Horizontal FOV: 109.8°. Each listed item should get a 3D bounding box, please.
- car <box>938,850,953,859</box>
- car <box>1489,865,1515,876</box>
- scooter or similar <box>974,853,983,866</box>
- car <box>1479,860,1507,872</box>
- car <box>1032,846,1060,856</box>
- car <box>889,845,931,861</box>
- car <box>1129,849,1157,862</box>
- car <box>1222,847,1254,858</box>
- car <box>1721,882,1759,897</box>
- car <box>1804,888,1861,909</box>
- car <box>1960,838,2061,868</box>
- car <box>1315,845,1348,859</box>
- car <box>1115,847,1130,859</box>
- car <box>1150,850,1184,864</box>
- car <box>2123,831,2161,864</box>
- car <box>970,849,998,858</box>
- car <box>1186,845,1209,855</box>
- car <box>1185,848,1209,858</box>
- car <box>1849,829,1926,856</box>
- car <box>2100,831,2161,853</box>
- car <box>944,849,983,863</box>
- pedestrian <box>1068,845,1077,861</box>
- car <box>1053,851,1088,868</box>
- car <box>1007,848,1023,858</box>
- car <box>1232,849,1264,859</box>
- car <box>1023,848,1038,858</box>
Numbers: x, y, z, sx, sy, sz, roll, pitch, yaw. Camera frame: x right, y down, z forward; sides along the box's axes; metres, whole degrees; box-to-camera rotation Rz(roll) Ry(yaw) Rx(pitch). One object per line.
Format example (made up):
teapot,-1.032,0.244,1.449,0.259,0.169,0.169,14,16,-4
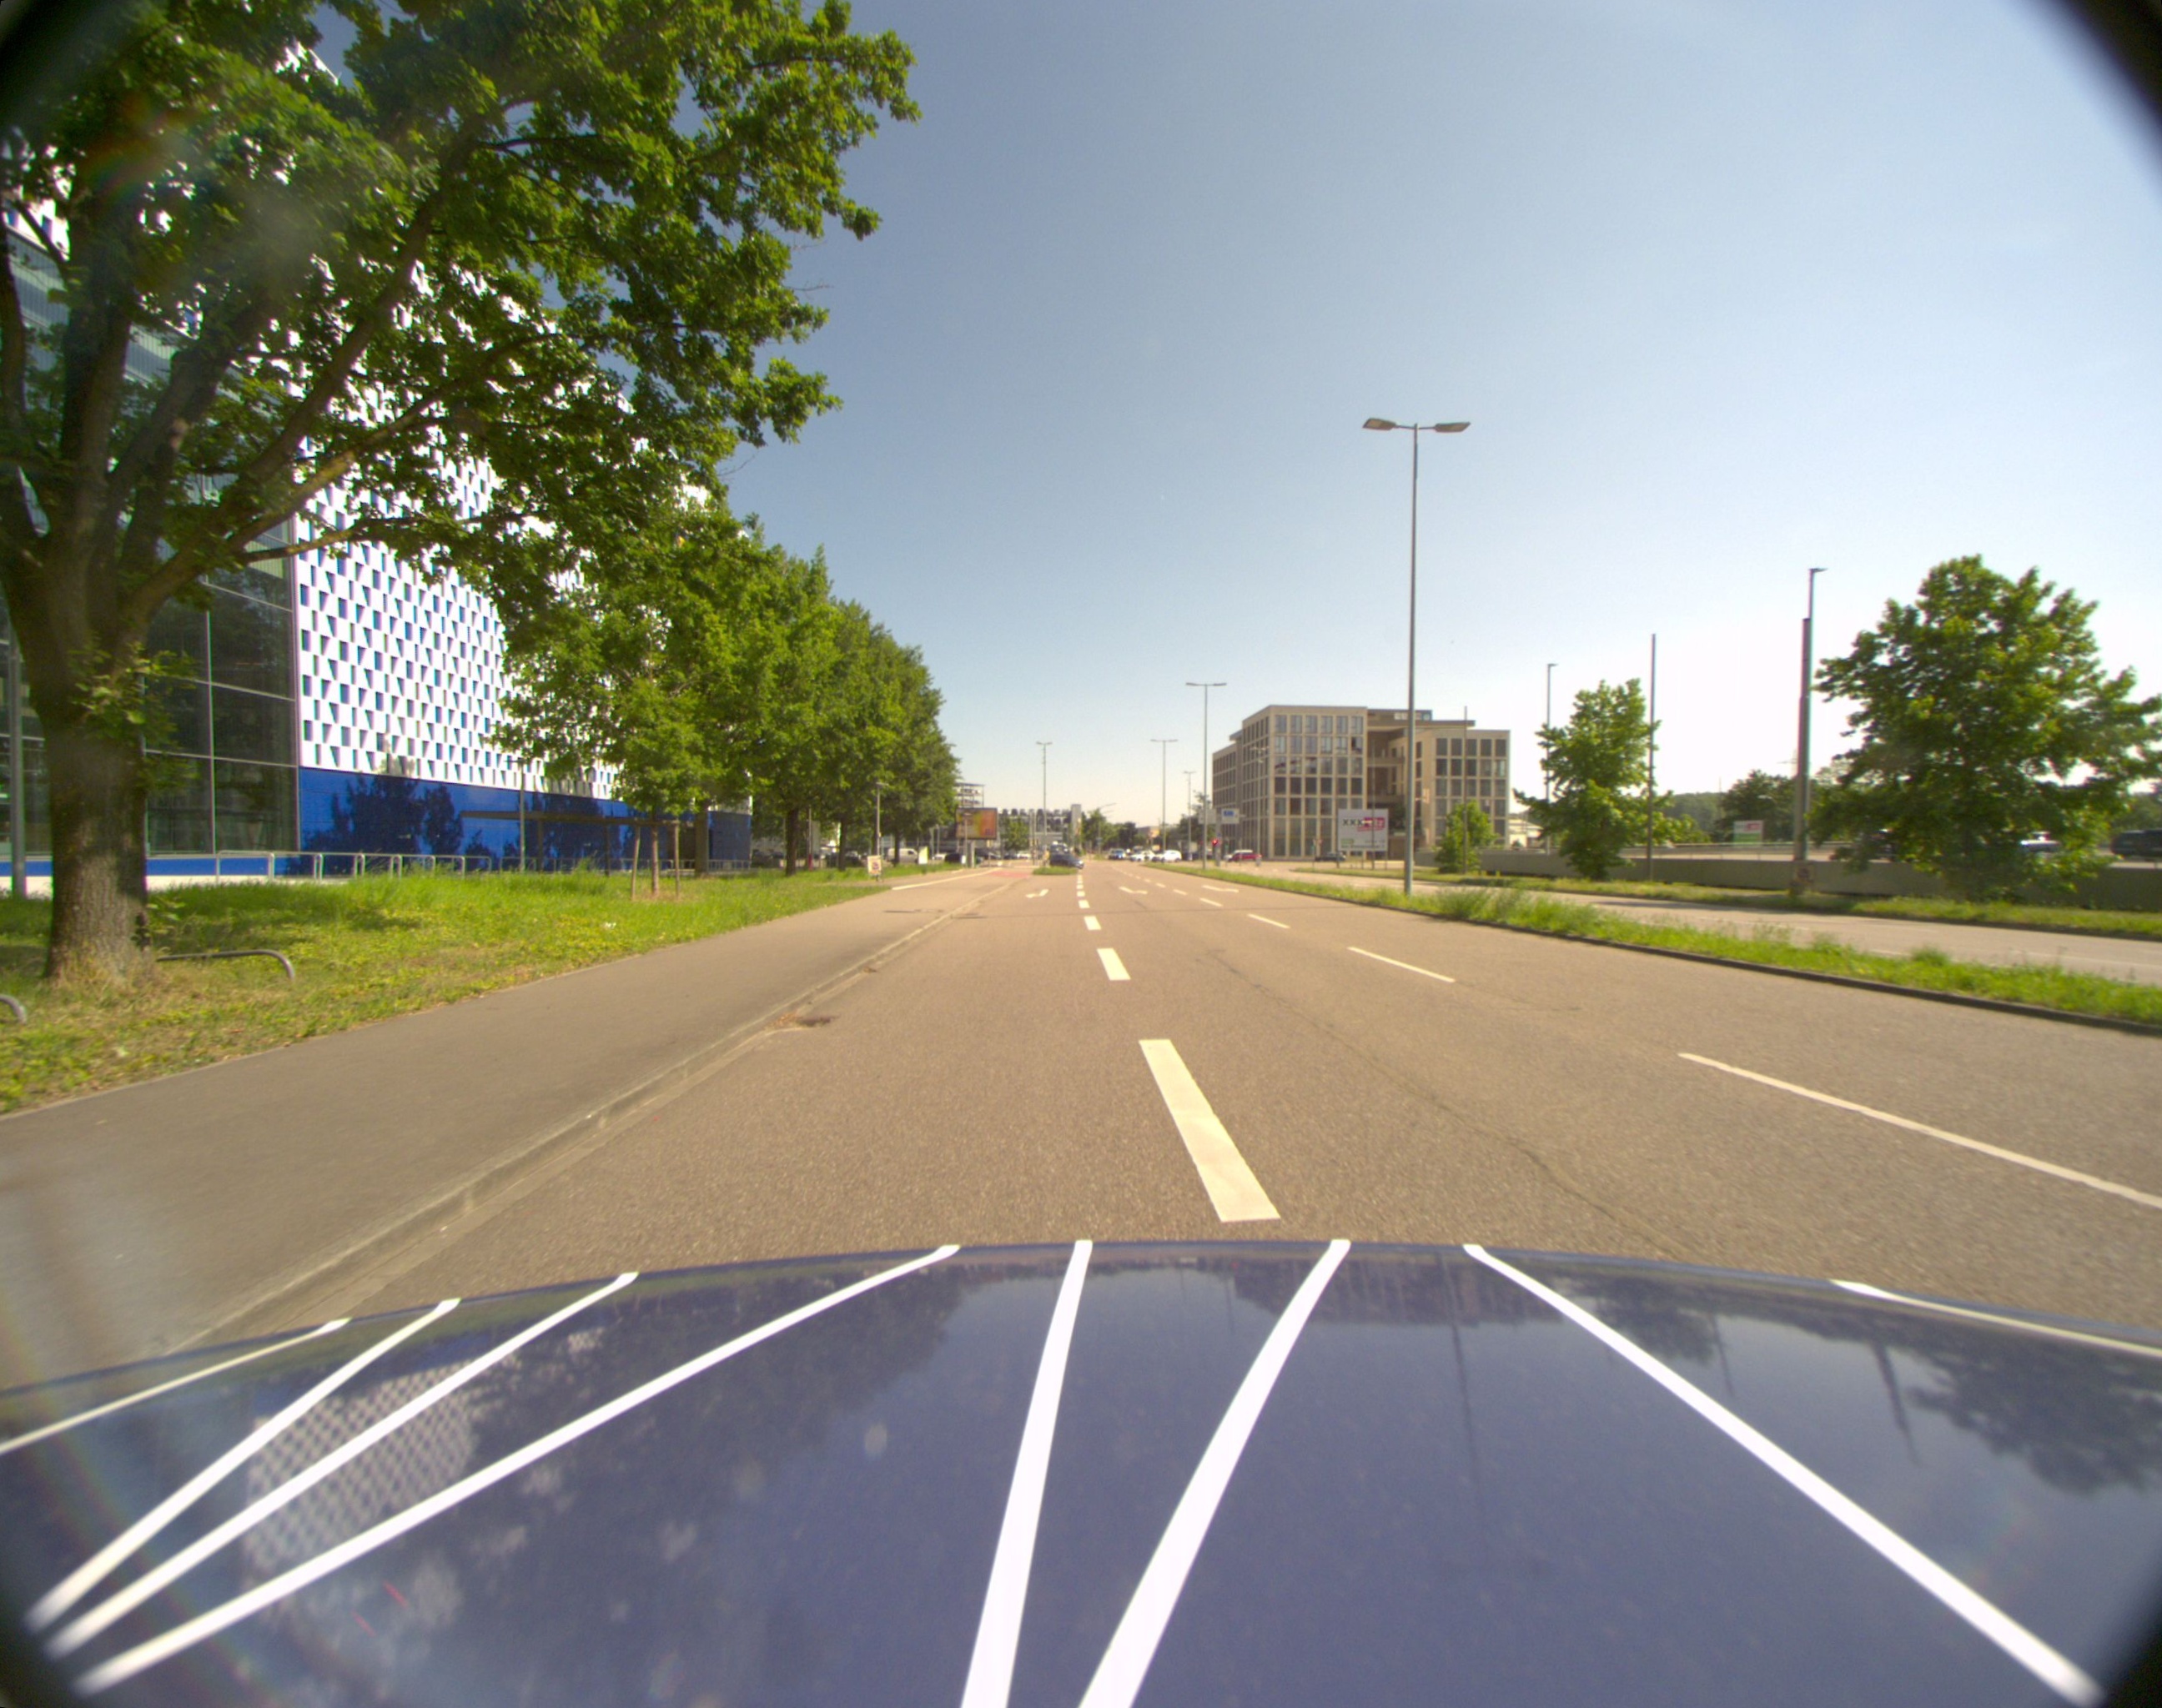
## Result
car,-21.227,0.031,119.016,2.005,1.413,4.112,-1,0,-5
car,37.457,1.456,67.615,1.847,0.970,0.866,0,2,-5
scooter or similar,-9.295,0.529,69.097,0.402,1.160,1.185,0,2,15
car,37.650,1.080,69.431,1.942,1.002,1.071,1,0,-2
car,-5.741,-0.478,123.585,4.479,1.578,1.979,0,1,-1
car,-21.669,-0.148,96.554,4.998,1.996,1.739,0,2,-4
car,8.683,0.230,106.570,3.773,1.703,1.829,-2,2,-41
car,23.141,-0.238,112.029,4.230,1.701,1.903,0,1,-5
car,46.246,2.479,53.319,1.943,0.970,0.910,0,2,-5
car,38.572,2.263,39.015,1.943,0.970,1.070,0,2,-5
car,33.848,-0.050,27.694,2.520,1.054,1.070,0,2,-5
car,36.958,-0.311,112.272,4.241,1.878,1.834,0,2,-2
car,6.932,-0.237,126.112,2.184,1.898,4.732,0,1,6
car,11.895,0.399,104.803,4.318,1.827,2.021,-1,2,-29
car,58.780,-0.351,40.916,3.096,1.748,1.691,0,2,-4
car,-15.286,-0.077,120.202,4.350,1.342,1.820,0,1,-4
car,22.103,-0.761,144.022,3.991,2.002,2.003,1,1,18
car,21.449,-0.218,140.180,3.991,1.816,2.003,1,1,18
car,48.112,-0.662,45.378,2.774,1.547,1.773,0,0,-4
car,64.232,-0.739,46.034,3.019,1.322,1.515,0,2,-4
car,-14.432,0.241,93.486,4.502,1.618,1.714,-1,2,-4
pedestrian,-0.964,-0.147,86.673,0.705,1.769,0.961,1,1,22
car,-1.067,0.500,72.867,1.774,1.456,4.229,0,1,-26
car,-10.458,-0.168,119.797,1.998,1.452,4.000,0,0,3
car,23.856,-0.013,108.578,4.119,1.519,1.530,0,1,-5
car,-8.013,-0.196,120.072,1.887,1.452,4.000,0,2,3
